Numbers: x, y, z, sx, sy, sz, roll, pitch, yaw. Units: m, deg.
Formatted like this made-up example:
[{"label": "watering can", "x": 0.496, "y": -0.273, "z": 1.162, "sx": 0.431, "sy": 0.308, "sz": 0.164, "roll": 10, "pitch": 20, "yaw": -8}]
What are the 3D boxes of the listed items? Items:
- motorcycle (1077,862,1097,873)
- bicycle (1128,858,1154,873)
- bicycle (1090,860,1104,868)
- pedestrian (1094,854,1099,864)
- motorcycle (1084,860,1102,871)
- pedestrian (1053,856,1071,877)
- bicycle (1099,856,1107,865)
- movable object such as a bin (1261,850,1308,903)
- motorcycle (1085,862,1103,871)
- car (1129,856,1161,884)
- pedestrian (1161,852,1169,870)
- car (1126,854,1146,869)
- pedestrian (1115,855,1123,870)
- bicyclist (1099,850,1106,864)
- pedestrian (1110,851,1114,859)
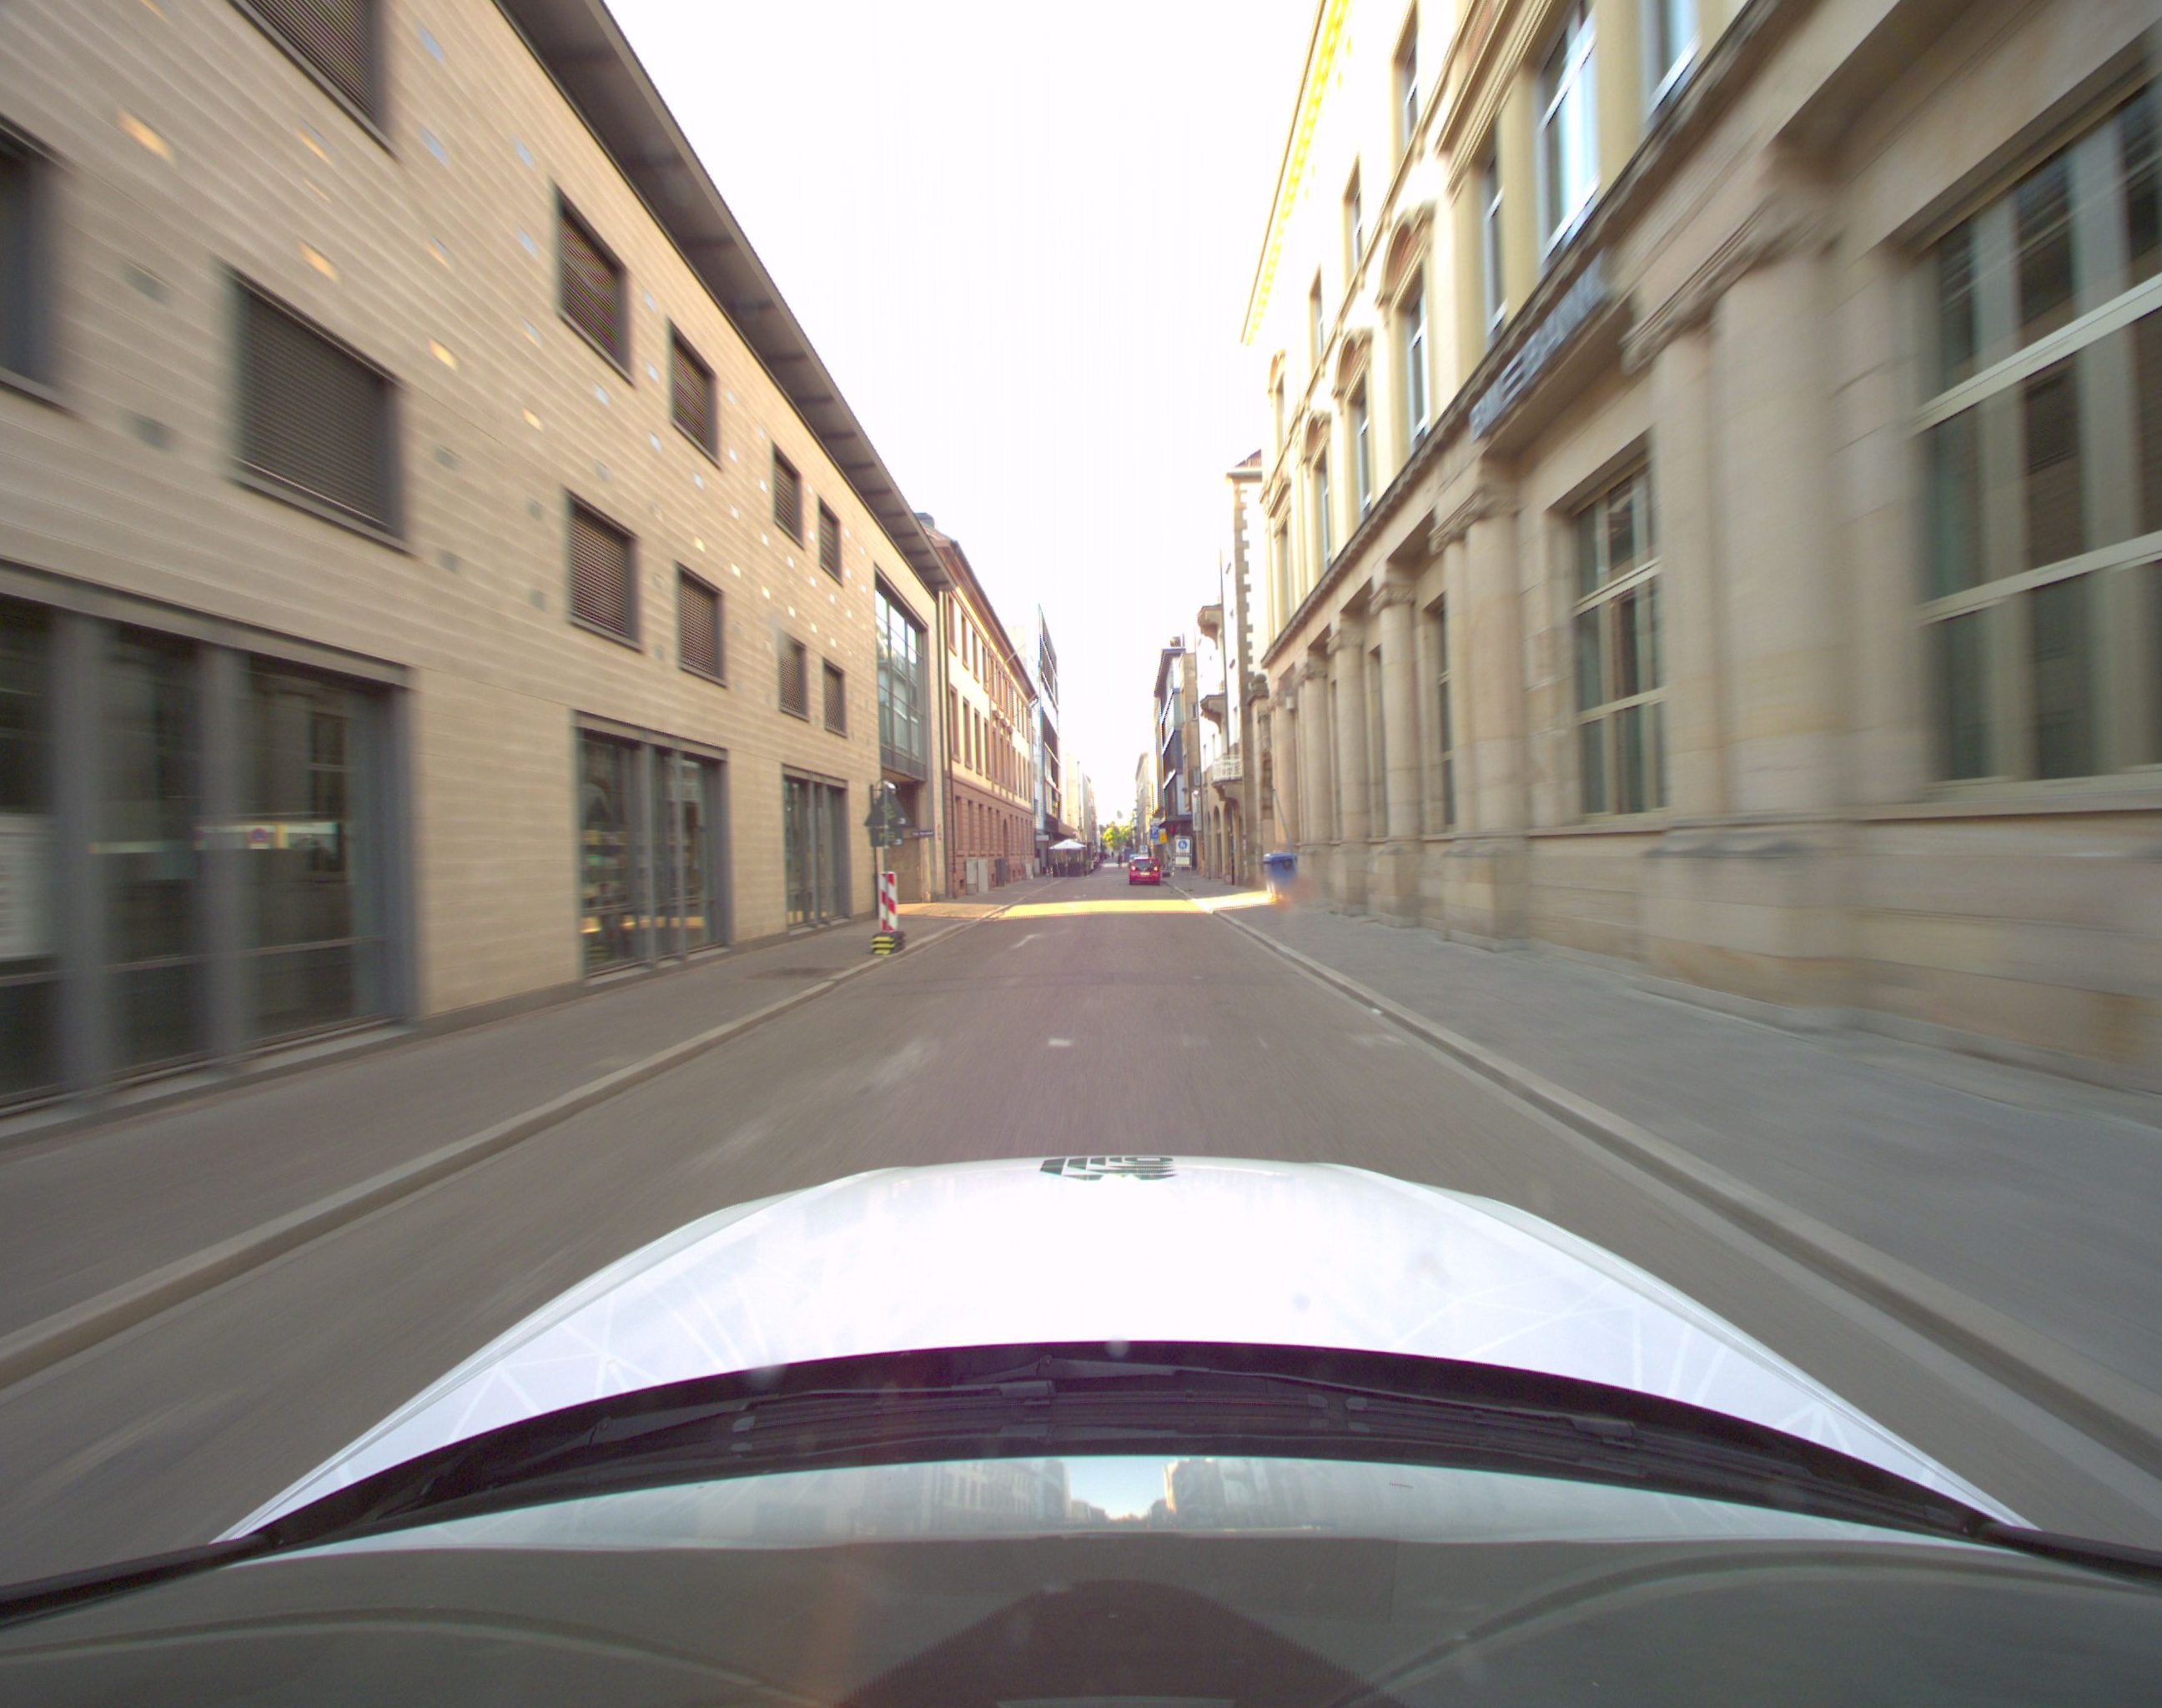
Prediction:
[{"label": "motorcycle", "x": 0.547, "y": 1.252, "z": 75.506, "sx": 1.796, "sy": 1.040, "sz": 0.493, "roll": -2, "pitch": 0, "yaw": -2}, {"label": "bicycle", "x": 4.837, "y": 0.928, "z": 65.499, "sx": 2.046, "sy": 1.134, "sz": 0.649, "roll": -2, "pitch": 0, "yaw": -2}, {"label": "bicycle", "x": 1.821, "y": 1.095, "z": 90.794, "sx": 1.526, "sy": 0.896, "sz": 0.481, "roll": -2, "pitch": 0, "yaw": -26}, {"label": "pedestrian", "x": 2.552, "y": 0.834, "z": 134.496, "sx": 0.675, "sy": 1.623, "sz": 0.626, "roll": -2, "pitch": 0, "yaw": 4}, {"label": "motorcycle", "x": 1.274, "y": 1.196, "z": 84.711, "sx": 1.796, "sy": 0.989, "sz": 0.560, "roll": -2, "pitch": 0, "yaw": -2}, {"label": "pedestrian", "x": -1.383, "y": 0.932, "z": 59.686, "sx": 1.286, "sy": 1.487, "sz": 0.661, "roll": -2, "pitch": 0, "yaw": 0}, {"label": "bicycle", "x": 2.675, "y": 0.786, "z": 100.917, "sx": 0.635, "sy": 1.157, "sz": 2.496, "roll": -2, "pitch": 0, "yaw": -6}, {"label": "movable object such as a bin", "x": 5.643, "y": 0.599, "z": 22.672, "sx": 0.987, "sy": 1.392, "sz": 1.241, "roll": -3, "pitch": 0, "yaw": 2}, {"label": "motorcycle", "x": 1.322, "y": 1.326, "z": 83.701, "sx": 1.796, "sy": 0.875, "sz": 0.560, "roll": -2, "pitch": 0, "yaw": -2}, {"label": "car", "x": 3.389, "y": 0.843, "z": 43.722, "sx": 1.642, "sy": 1.427, "sz": 3.538, "roll": 1, "pitch": 0, "yaw": 3}, {"label": "pedestrian", "x": 7.000, "y": 0.552, "z": 67.790, "sx": 0.653, "sy": 1.487, "sz": 0.493, "roll": -2, "pitch": 0, "yaw": 4}, {"label": "car", "x": 6.287, "y": 0.874, "z": 93.096, "sx": 1.986, "sy": 1.611, "sz": 4.001, "roll": -2, "pitch": 0, "yaw": 1}, {"label": "pedestrian", "x": 4.430, "y": 0.976, "z": 93.933, "sx": 0.863, "sy": 1.713, "sz": 0.852, "roll": -2, "pitch": 0, "yaw": 1}, {"label": "bicyclist", "x": 2.657, "y": 0.395, "z": 100.900, "sx": 0.635, "sy": 1.641, "sz": 0.770, "roll": -2, "pitch": 0, "yaw": -7}, {"label": "pedestrian", "x": 6.675, "y": 0.313, "z": 173.256, "sx": 0.801, "sy": 1.672, "sz": 0.889, "roll": -2, "pitch": 0, "yaw": 4}]
